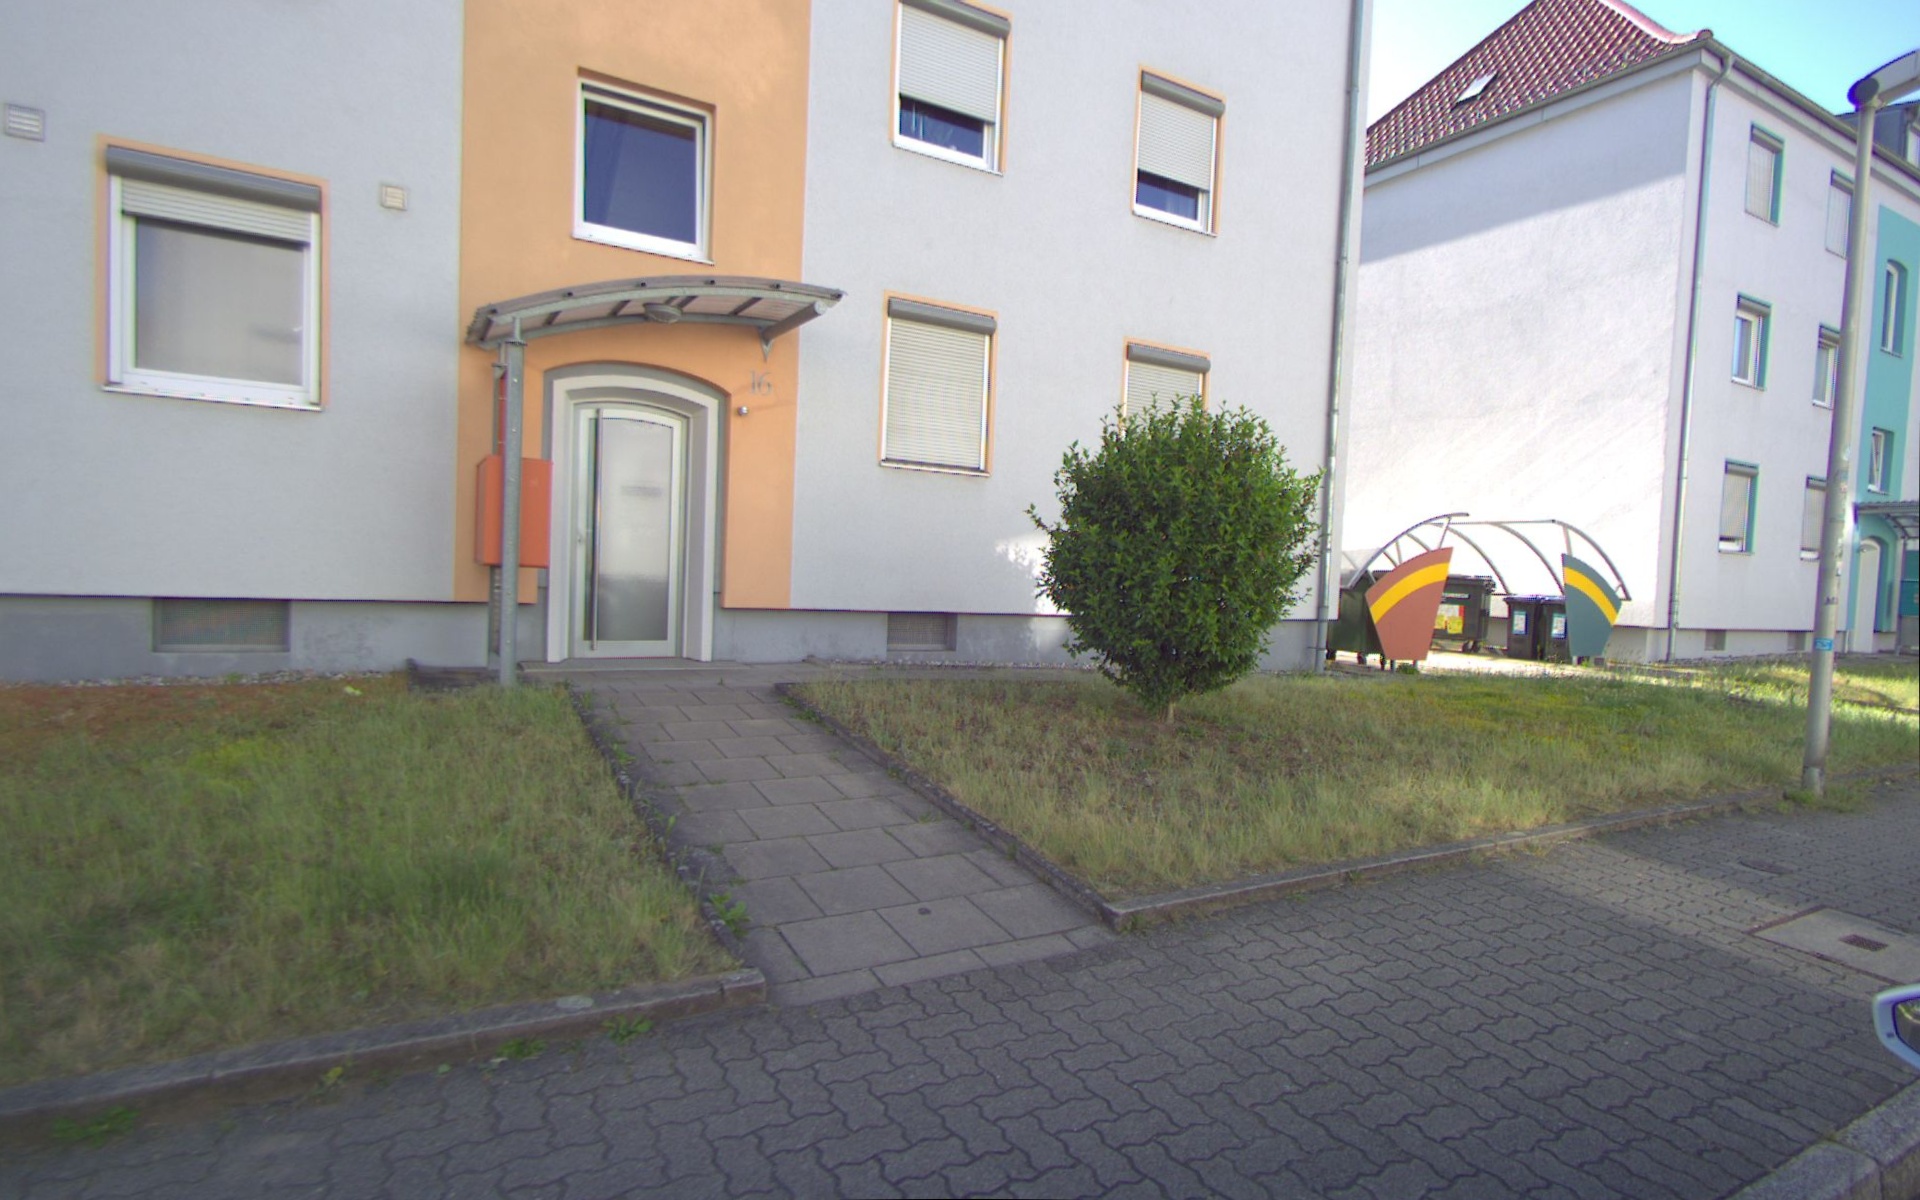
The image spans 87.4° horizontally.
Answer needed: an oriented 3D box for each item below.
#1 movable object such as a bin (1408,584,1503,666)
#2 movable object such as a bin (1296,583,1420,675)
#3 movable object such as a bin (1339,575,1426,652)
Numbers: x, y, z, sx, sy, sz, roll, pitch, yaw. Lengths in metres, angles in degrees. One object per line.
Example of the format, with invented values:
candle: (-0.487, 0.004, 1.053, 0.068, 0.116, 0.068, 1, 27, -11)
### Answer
movable object such as a bin: (8.817, 0.420, 17.902, 0.899, 1.374, 1.239, 0, 2, -41)
movable object such as a bin: (5.516, 0.374, 13.975, 0.899, 1.184, 1.307, 0, 2, -30)
movable object such as a bin: (7.948, 0.236, 18.914, 0.796, 1.366, 1.244, 0, 2, -40)
